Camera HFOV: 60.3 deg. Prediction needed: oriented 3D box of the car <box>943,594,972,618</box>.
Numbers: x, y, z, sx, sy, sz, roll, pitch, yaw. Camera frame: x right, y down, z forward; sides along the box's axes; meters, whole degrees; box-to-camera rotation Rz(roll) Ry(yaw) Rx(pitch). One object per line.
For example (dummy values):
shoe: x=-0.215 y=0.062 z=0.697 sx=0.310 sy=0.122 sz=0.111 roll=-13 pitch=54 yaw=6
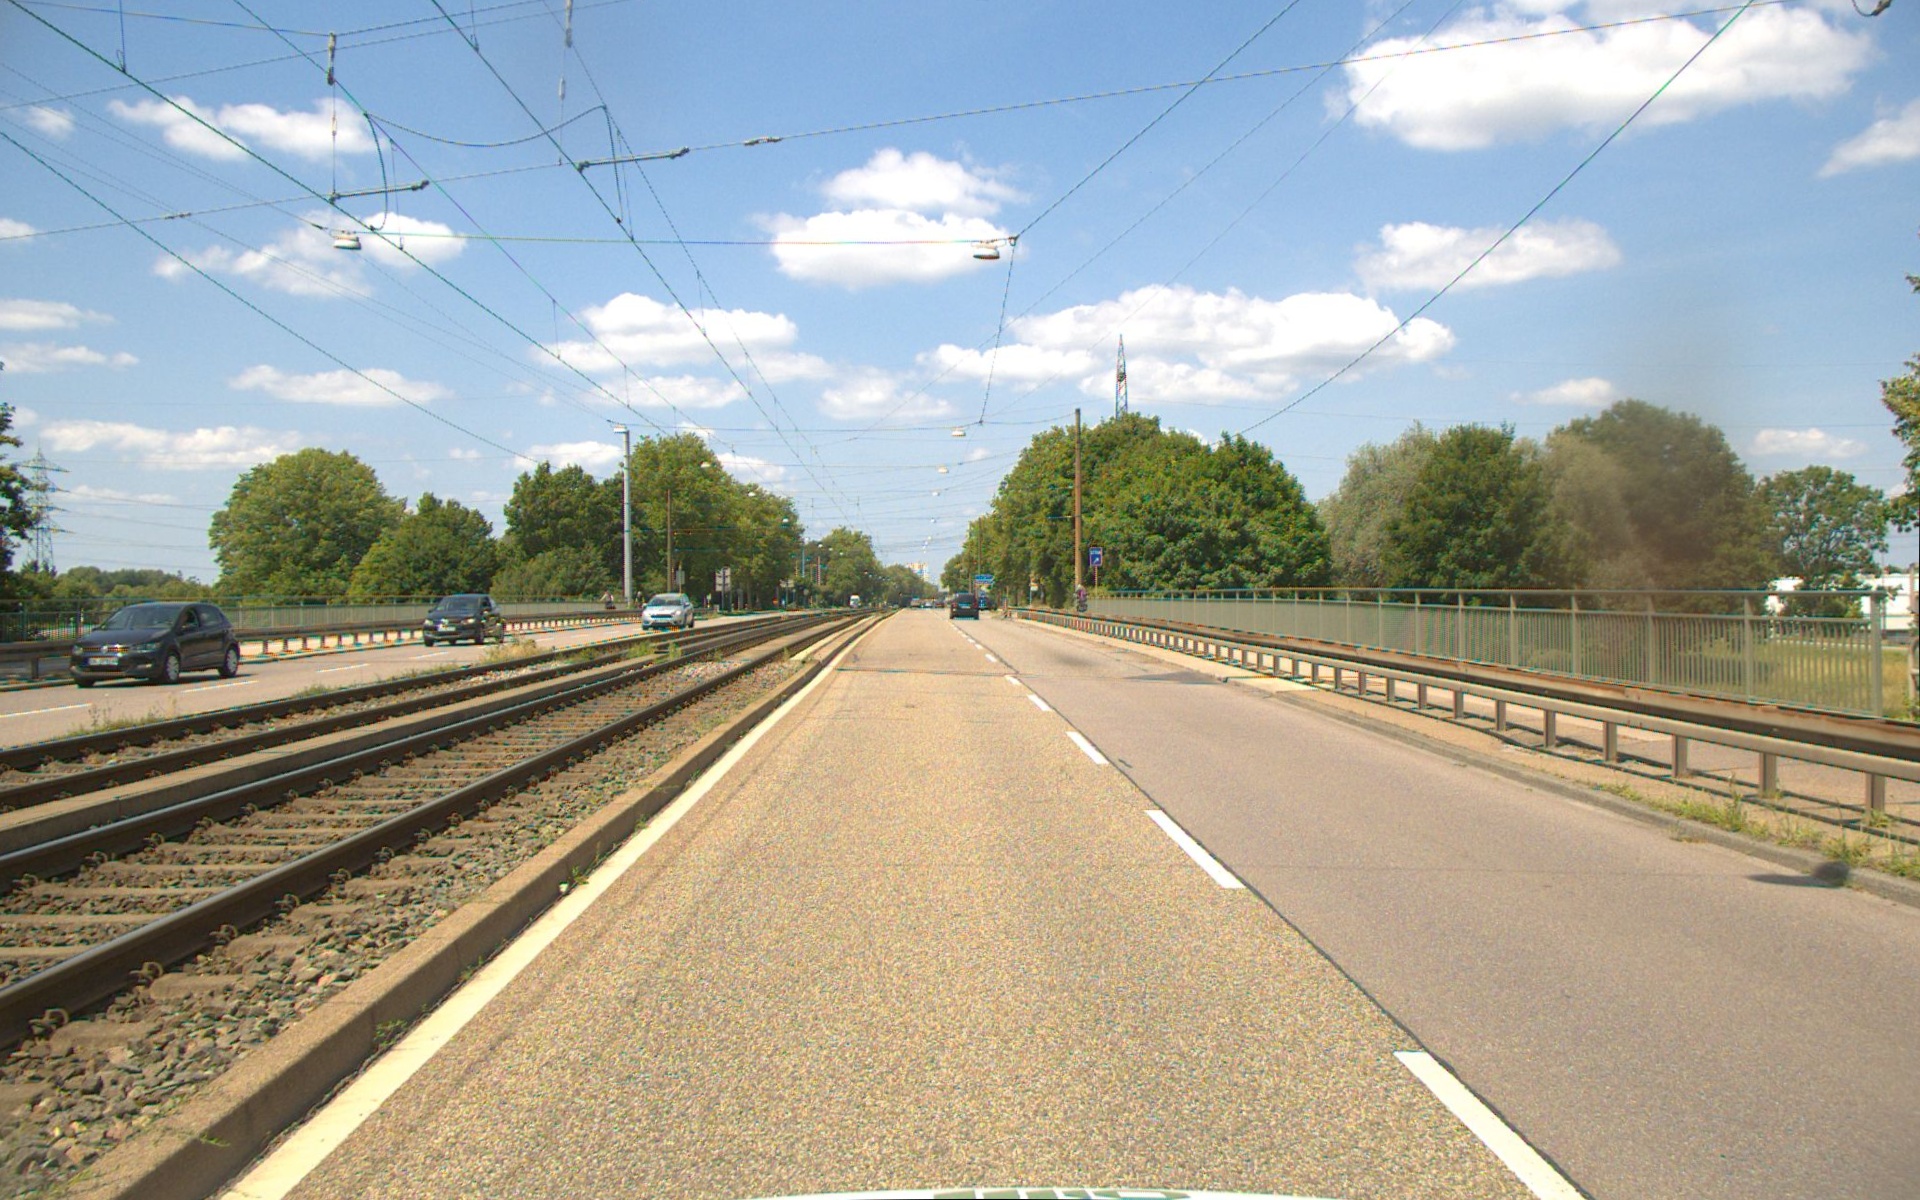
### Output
car: x=-0.158 y=0.356 z=101.023 sx=1.554 sy=1.366 sz=3.270 roll=-1 pitch=1 yaw=-3

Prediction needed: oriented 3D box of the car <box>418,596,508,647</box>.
car: x=-14.579 y=0.613 z=48.710 sx=1.542 sy=1.424 sz=3.936 roll=-1 pitch=0 yaw=-2

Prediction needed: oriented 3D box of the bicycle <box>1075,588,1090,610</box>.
bicycle: x=5.973 y=-0.044 z=80.876 sx=0.548 sy=1.042 sz=1.847 roll=-1 pitch=0 yaw=-1

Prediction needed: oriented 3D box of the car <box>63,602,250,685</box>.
car: x=-14.594 y=0.741 z=30.268 sx=1.531 sy=1.371 sz=3.928 roll=-2 pitch=0 yaw=-1

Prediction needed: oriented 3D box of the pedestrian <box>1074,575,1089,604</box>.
pedestrian: x=5.960 y=-0.533 z=80.946 sx=0.615 sy=1.398 sz=1.050 roll=-1 pitch=0 yaw=-1

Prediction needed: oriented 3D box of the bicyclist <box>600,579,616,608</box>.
bicyclist: x=-20.121 y=-0.362 z=94.523 sx=0.747 sy=1.650 sz=0.838 roll=0 pitch=0 yaw=-2

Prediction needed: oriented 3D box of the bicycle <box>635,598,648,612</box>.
bicycle: x=-20.378 y=0.330 z=105.792 sx=0.512 sy=0.858 sz=2.034 roll=1 pitch=0 yaw=-4

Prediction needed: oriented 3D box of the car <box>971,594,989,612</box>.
car: x=2.327 y=0.346 z=194.195 sx=1.953 sy=2.004 sz=3.999 roll=0 pitch=0 yaw=-1

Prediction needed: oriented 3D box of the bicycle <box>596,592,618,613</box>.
bicycle: x=-20.145 y=0.154 z=94.455 sx=0.839 sy=1.206 sz=2.061 roll=0 pitch=0 yaw=-2

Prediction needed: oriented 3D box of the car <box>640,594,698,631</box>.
car: x=-12.078 y=0.523 z=68.891 sx=1.676 sy=1.445 sz=4.623 roll=-2 pitch=0 yaw=-1
